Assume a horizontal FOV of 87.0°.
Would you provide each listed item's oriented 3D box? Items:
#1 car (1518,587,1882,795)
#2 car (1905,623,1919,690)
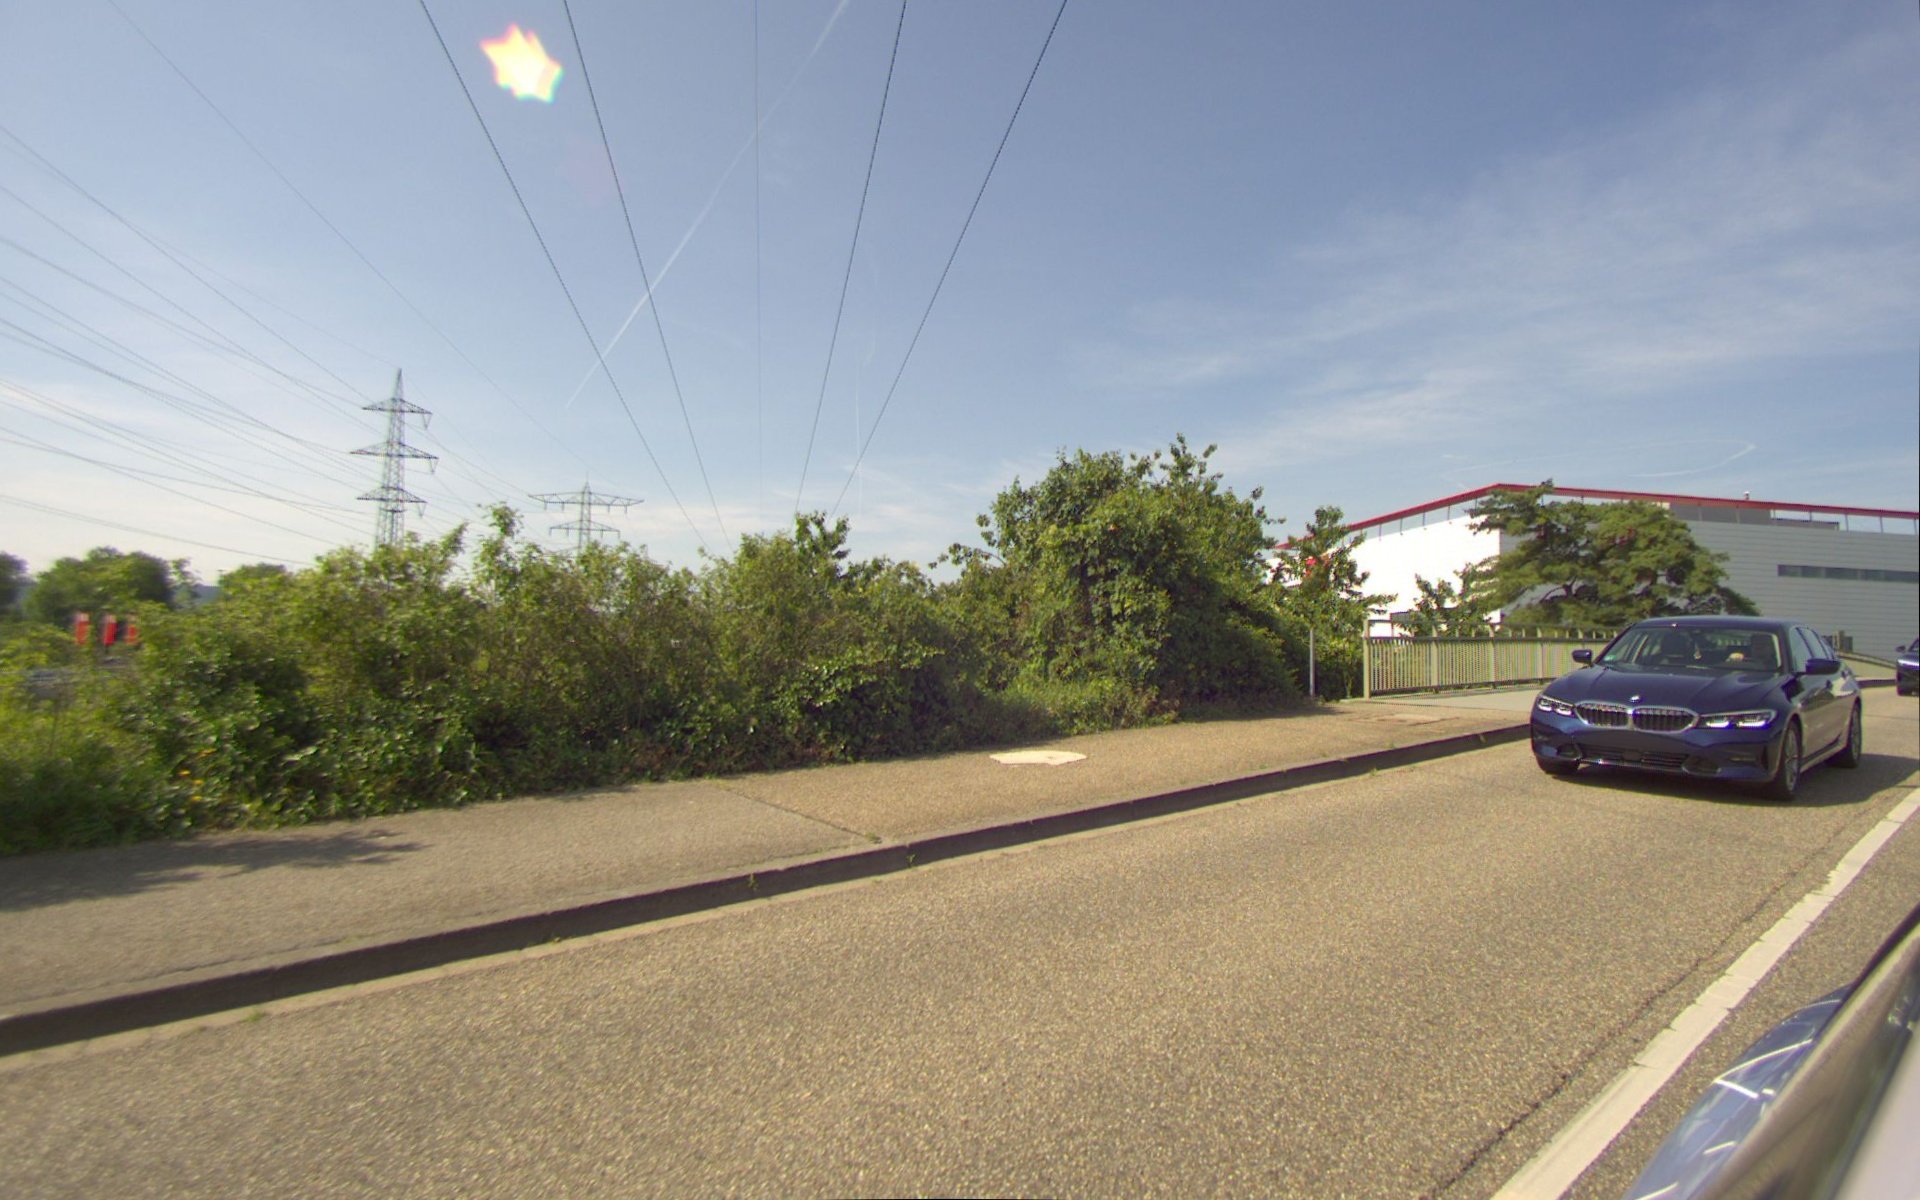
[{"bbox_3d":[7.056,0.787,9.473,4.439,1.503,1.790,4,-4,-41],"label":"car"},{"bbox_3d":[24.034,1.357,24.055,4.070,1.549,1.859,3,-3,-41],"label":"car"}]
